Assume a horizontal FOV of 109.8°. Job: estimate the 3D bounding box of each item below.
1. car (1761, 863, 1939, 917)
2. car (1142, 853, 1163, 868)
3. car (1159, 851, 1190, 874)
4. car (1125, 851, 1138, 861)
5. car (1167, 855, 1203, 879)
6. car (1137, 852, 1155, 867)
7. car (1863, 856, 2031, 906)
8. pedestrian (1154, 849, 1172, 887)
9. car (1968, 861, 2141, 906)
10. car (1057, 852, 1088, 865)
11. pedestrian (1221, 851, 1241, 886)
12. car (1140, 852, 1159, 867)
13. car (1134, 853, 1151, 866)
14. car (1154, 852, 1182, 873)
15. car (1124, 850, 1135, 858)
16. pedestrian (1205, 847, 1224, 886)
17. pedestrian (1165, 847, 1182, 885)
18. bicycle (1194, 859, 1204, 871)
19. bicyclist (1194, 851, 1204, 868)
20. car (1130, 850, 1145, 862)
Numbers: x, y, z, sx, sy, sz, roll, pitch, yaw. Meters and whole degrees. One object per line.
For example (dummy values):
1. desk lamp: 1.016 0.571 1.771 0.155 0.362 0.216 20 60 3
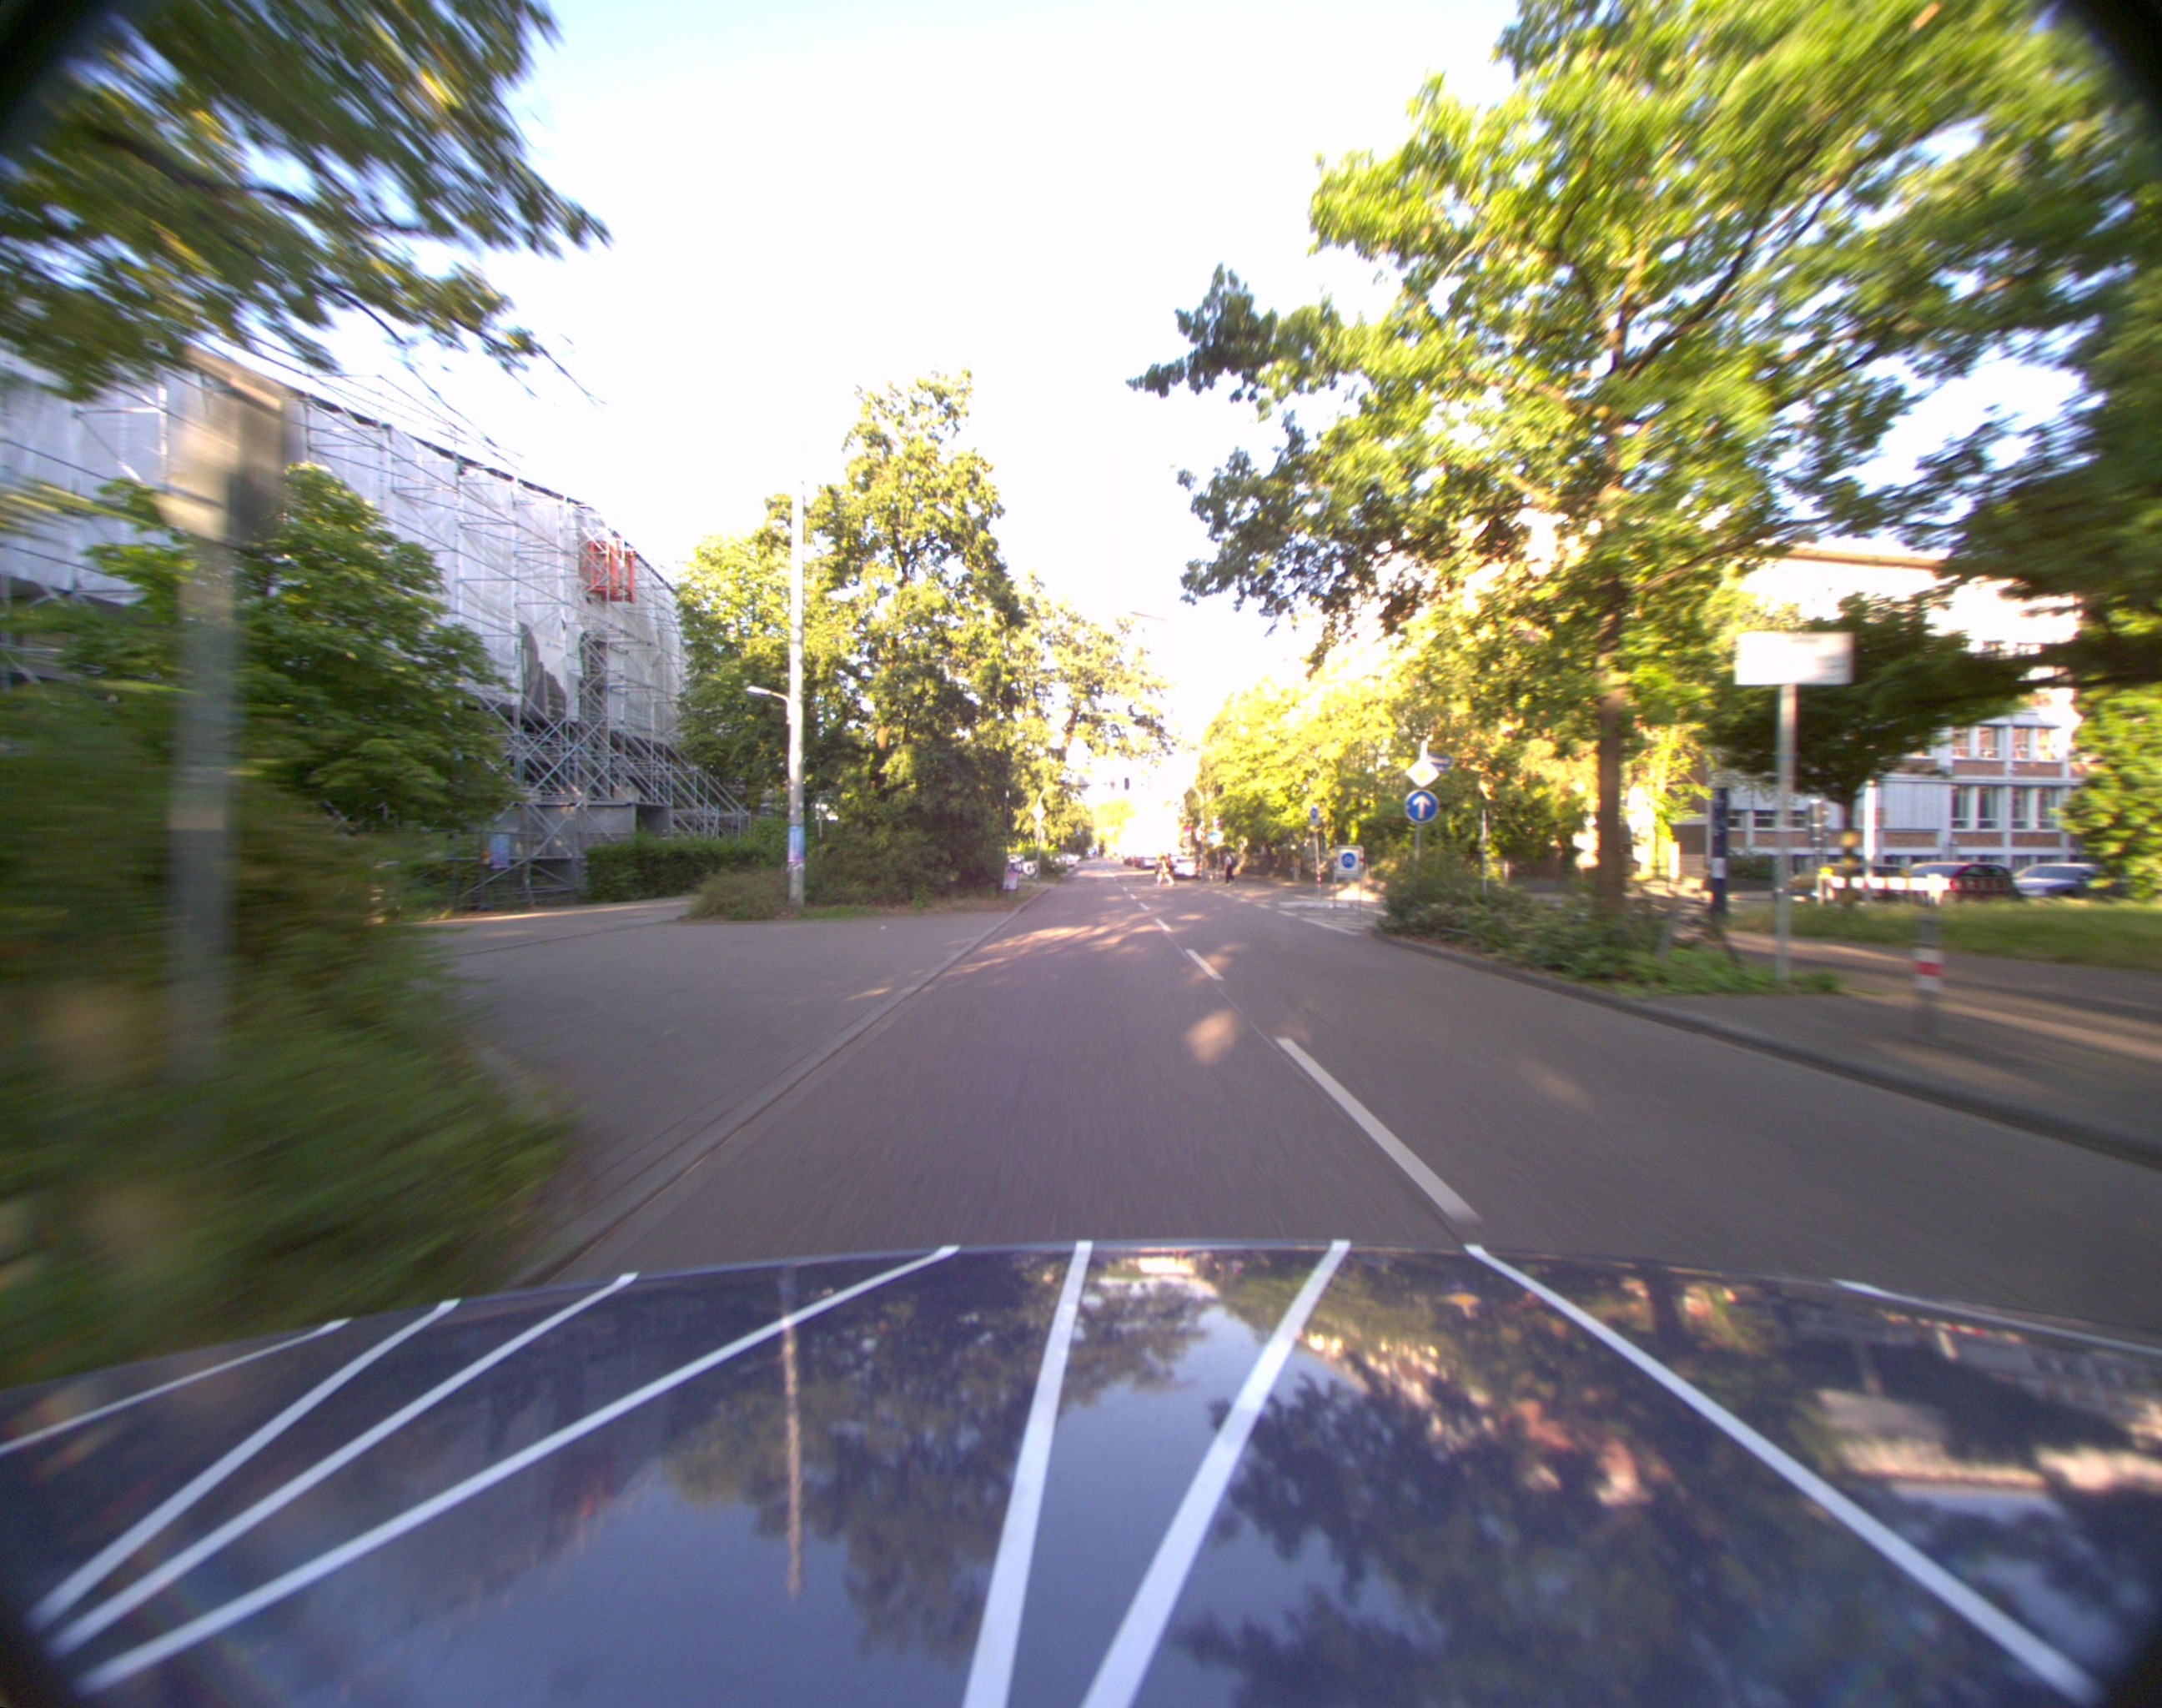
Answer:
1. car: 23.013 1.042 22.810 3.963 1.441 1.775 0 2 -10
2. car: 7.347 0.659 78.638 1.776 1.559 4.109 -1 0 1
3. car: 6.738 0.618 54.983 1.776 1.559 4.109 -1 0 1
4. car: 7.830 0.274 118.510 1.776 1.559 4.109 -1 0 1
5. car: 6.627 0.809 48.854 1.776 1.474 4.109 -1 0 1
6. car: 7.492 0.621 87.988 1.776 1.559 4.109 -1 0 1
7. car: 26.871 0.805 23.641 3.646 1.399 1.775 0 2 -10
8. pedestrian: 4.016 0.685 37.149 0.784 1.825 0.672 -2 0 4
9. car: 31.012 0.911 24.256 3.801 1.285 1.775 0 2 -10
10. car: -1.154 0.570 100.227 2.003 1.630 3.989 -2 1 -36
11. pedestrian: 7.181 0.688 36.344 0.784 1.665 0.672 -2 0 4
12. car: 7.462 0.623 83.466 1.776 1.559 4.109 -1 0 1
13. car: 7.621 0.696 93.774 1.776 1.559 4.109 -1 0 1
14. car: 6.905 0.670 60.472 1.776 1.559 4.109 -1 0 1
15. car: 8.913 0.014 140.561 1.776 1.559 4.109 -1 0 1
16. pedestrian: 6.423 0.590 36.508 0.784 1.825 0.672 -2 0 4
17. pedestrian: 4.659 0.599 38.255 0.784 1.825 0.672 -2 0 4
18. bicycle: 10.254 0.940 66.105 0.625 1.008 2.147 0 0 3
19. bicyclist: 10.234 0.450 65.938 0.752 1.446 1.060 0 0 3
20. car: 7.644 0.295 103.688 1.776 1.559 4.109 -1 0 1
